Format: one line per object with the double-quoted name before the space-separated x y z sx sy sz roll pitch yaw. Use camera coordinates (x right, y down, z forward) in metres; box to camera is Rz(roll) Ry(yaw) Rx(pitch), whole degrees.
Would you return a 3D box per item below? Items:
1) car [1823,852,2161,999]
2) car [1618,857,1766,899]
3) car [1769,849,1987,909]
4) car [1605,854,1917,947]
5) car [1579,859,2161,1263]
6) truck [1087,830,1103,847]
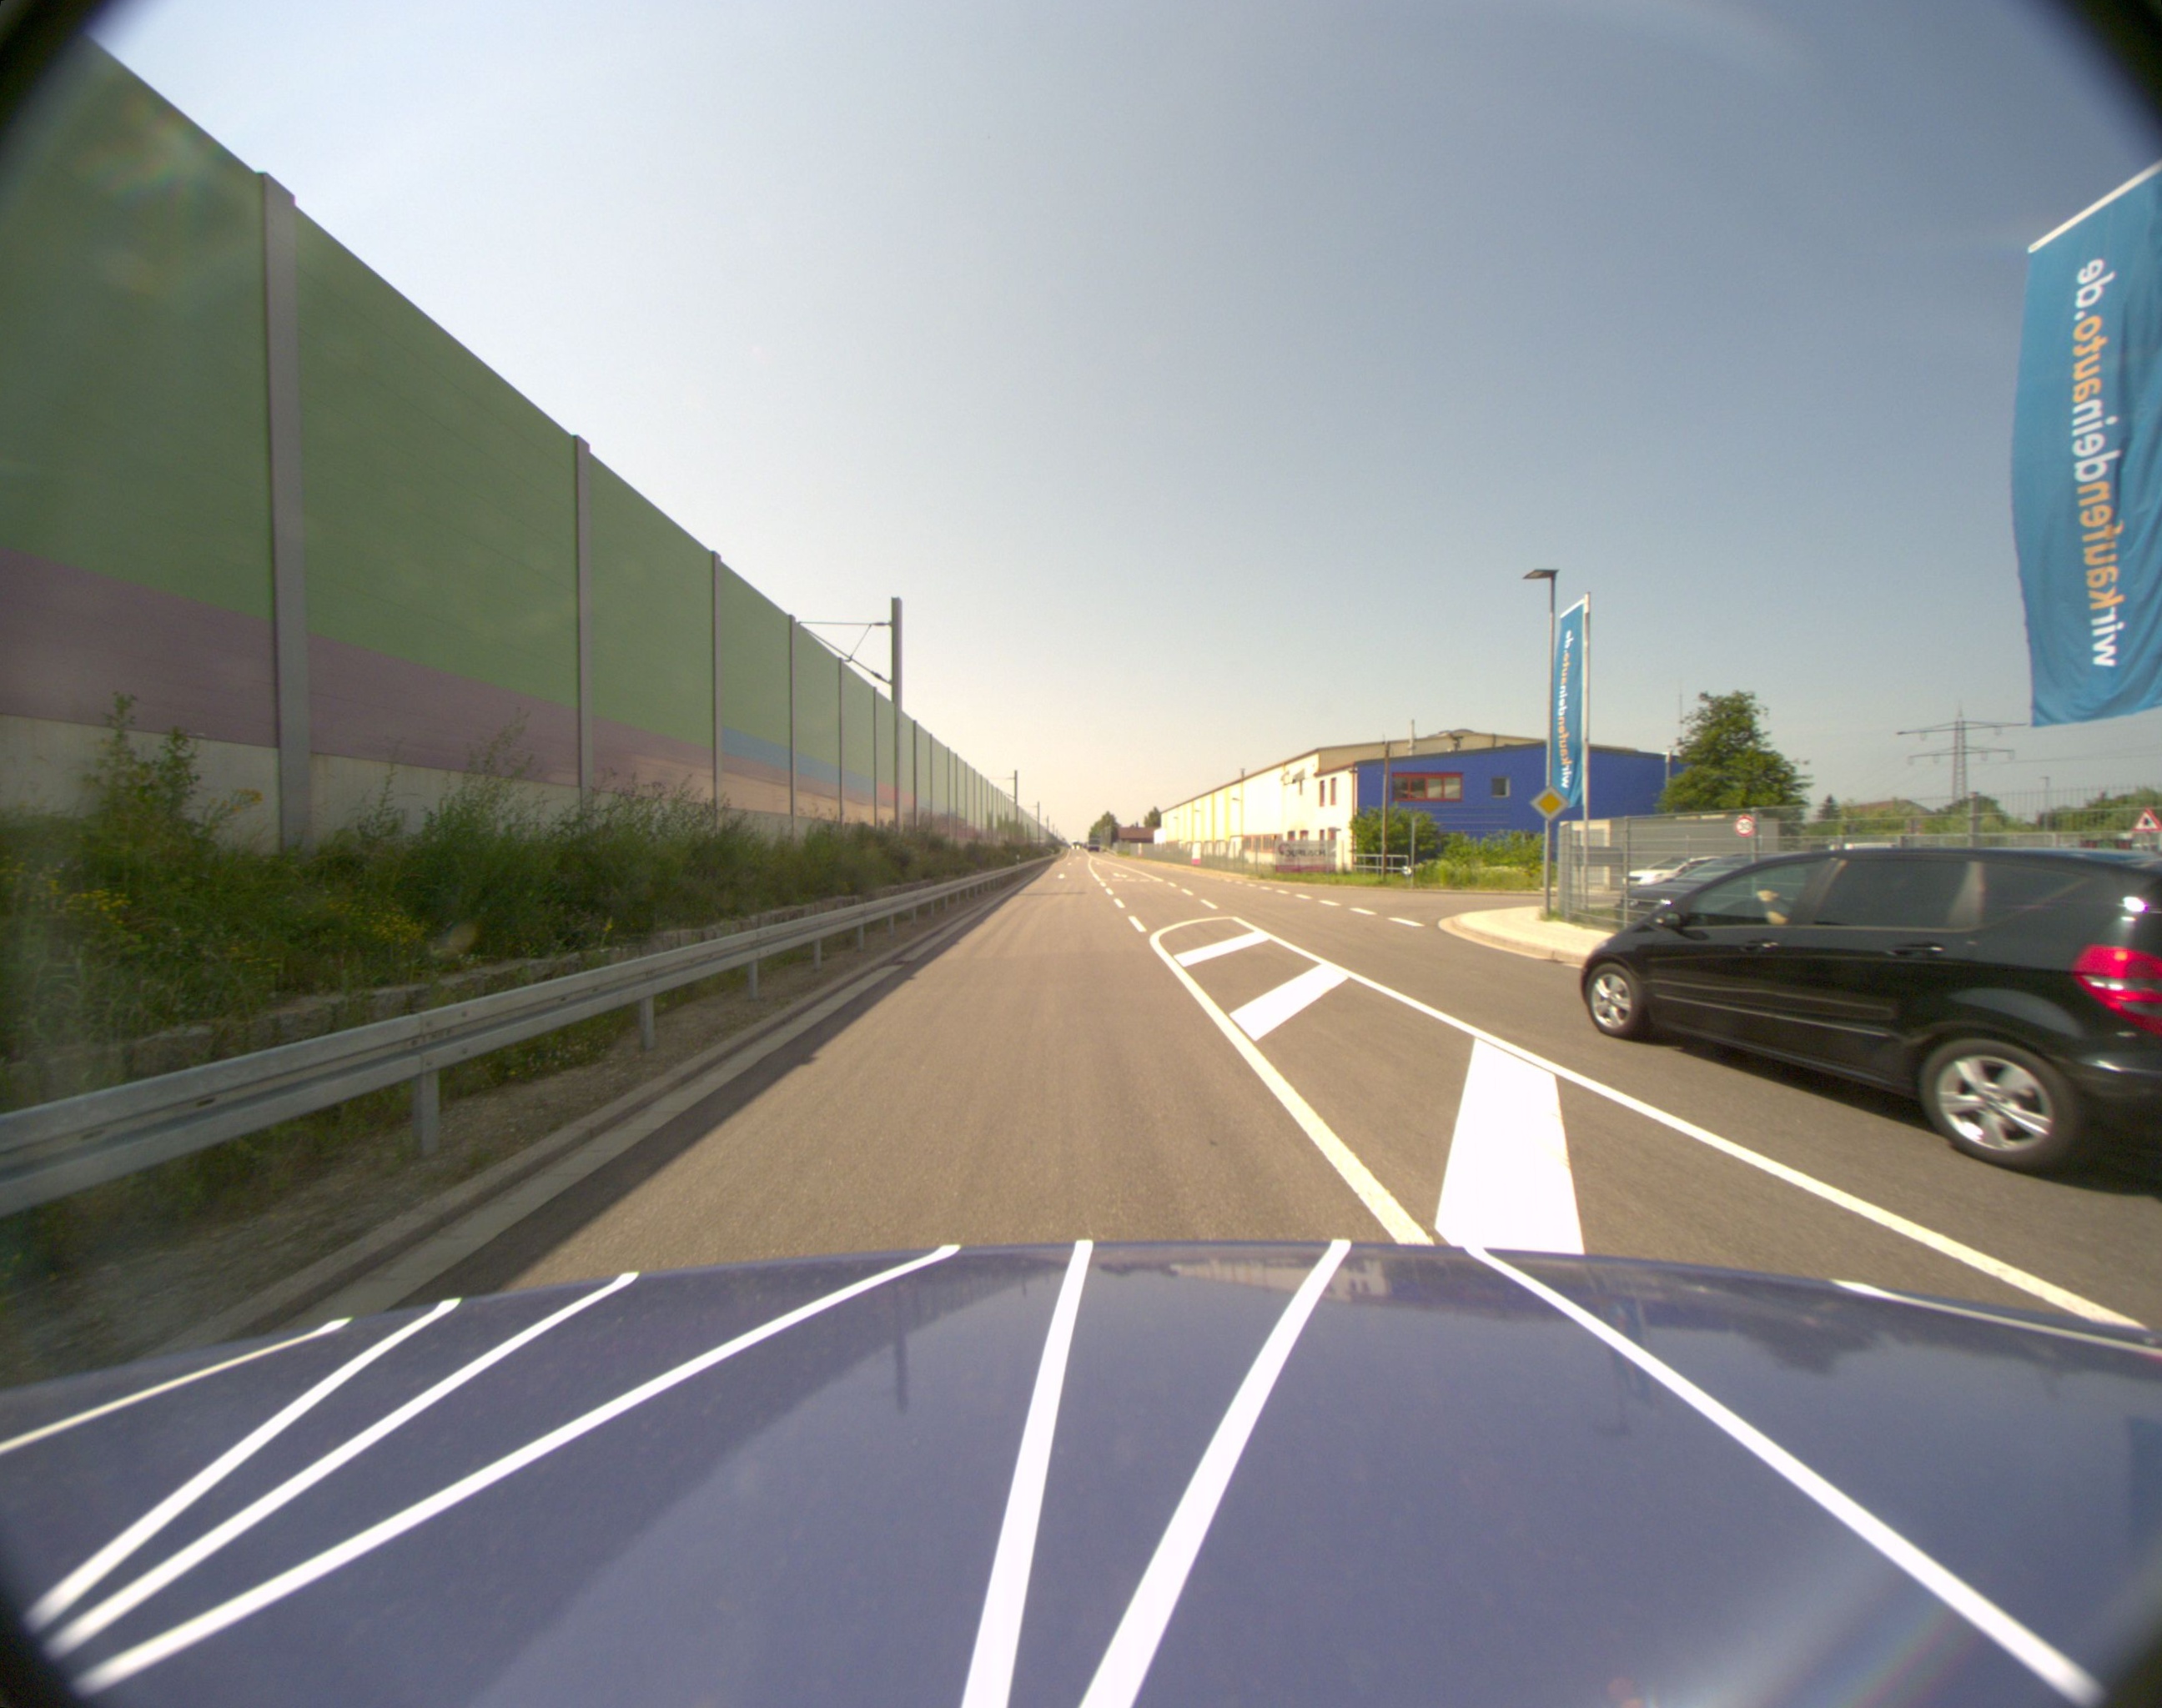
"car" 11.321 0.731 8.828 4.000 1.494 1.774 0 0 -8
"car" 22.863 0.886 28.525 4.159 1.494 1.775 0 0 -1
"car" 21.701 0.629 20.966 1.774 1.493 3.999 0 0 -1
"car" 11.734 0.761 13.286 3.998 1.494 1.774 0 0 -4
"car" 5.231 0.869 4.700 1.746 1.584 3.795 2 0 -1
"truck" 3.238 -3.473 174.693 3.563 3.855 11.415 0 0 1
